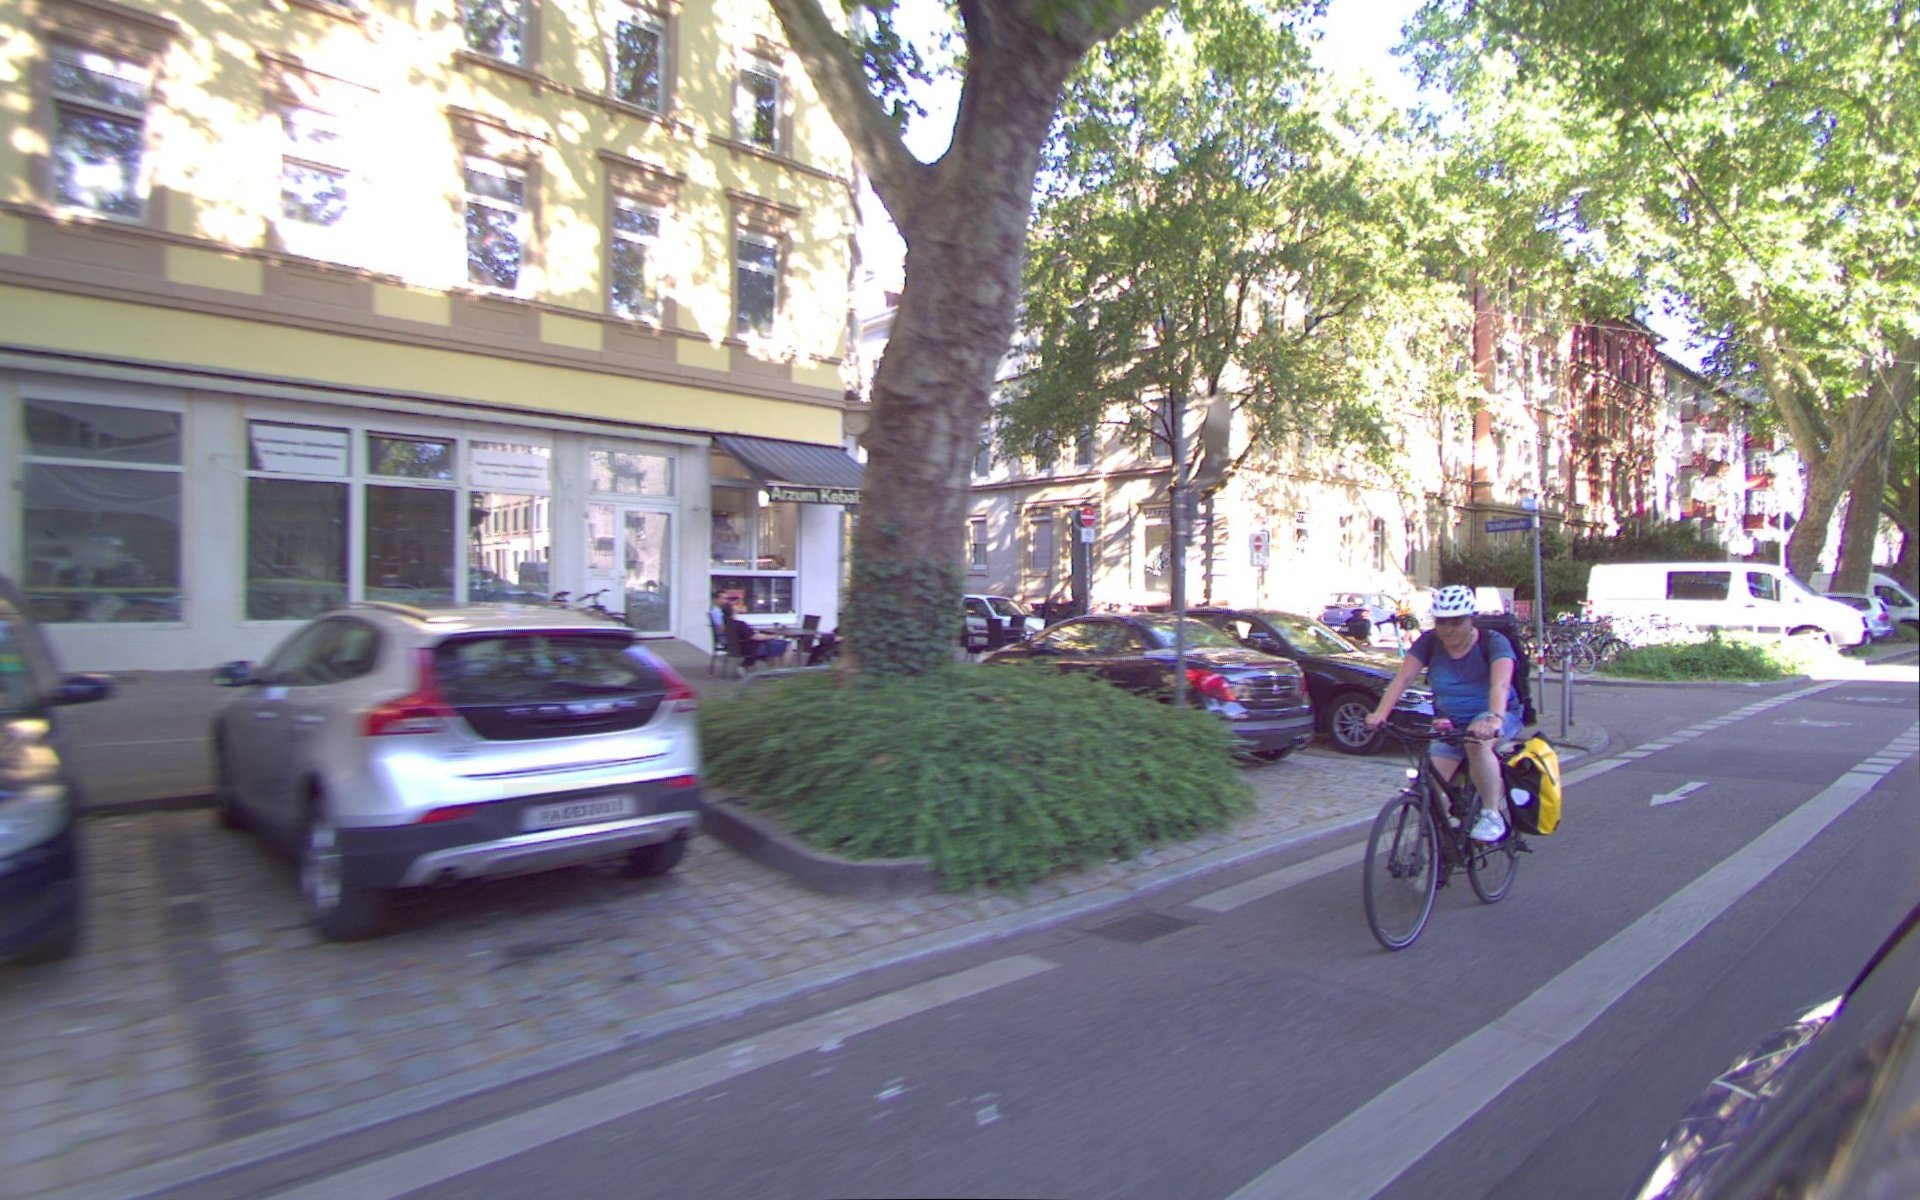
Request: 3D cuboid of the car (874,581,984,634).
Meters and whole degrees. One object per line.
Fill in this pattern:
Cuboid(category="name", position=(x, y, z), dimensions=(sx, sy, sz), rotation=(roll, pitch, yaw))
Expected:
Cuboid(category="car", position=(-1.118, 0.205, 34.894), dimensions=(1.819, 1.618, 3.999), rotation=(-3, 3, -36))

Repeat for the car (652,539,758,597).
Cuboid(category="car", position=(-8.173, -0.988, 32.210), dimensions=(1.624, 1.679, 4.140), rotation=(3, -1, -39))

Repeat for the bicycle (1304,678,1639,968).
Cuboid(category="bicycle", position=(2.689, 0.980, 5.137), dimensions=(2.467, 1.017, 0.596), rotation=(0, -2, -41))

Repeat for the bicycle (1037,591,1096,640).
Cuboid(category="bicycle", position=(3.199, 0.444, 30.159), dimensions=(1.974, 1.333, 0.522), rotation=(-3, 1, -42))

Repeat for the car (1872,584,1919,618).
Cuboid(category="car", position=(51.661, 0.055, 54.194), dimensions=(1.773, 1.767, 4.001), rotation=(0, 1, -40))

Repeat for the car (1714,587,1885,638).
Cuboid(category="car", position=(26.698, 0.349, 32.275), dimensions=(1.765, 1.497, 3.962), rotation=(0, 1, -41))

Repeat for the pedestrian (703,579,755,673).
Cuboid(category="pedestrian", position=(-3.378, 0.369, 14.832), dimensions=(0.673, 1.345, 0.487), rotation=(0, 0, -4))

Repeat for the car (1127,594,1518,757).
Cuboid(category="car", position=(4.007, 0.707, 11.888), dimensions=(1.795, 1.510, 4.113), rotation=(0, 1, -32))

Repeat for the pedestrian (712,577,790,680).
Cuboid(category="pedestrian", position=(-2.887, 0.389, 14.023), dimensions=(1.034, 1.392, 0.487), rotation=(0, 0, -10))

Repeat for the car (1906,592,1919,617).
Cuboid(category="car", position=(60.076, 0.344, 61.030), dimensions=(1.877, 1.500, 4.206), rotation=(0, 2, -39))

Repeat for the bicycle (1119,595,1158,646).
Cuboid(category="bicycle", position=(4.941, 0.540, 27.986), dimensions=(0.503, 1.271, 1.890), rotation=(0, 2, 28))

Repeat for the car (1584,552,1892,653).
Cuboid(category="car", position=(19.832, 0.013, 26.129), dimensions=(1.970, 2.311, 6.006), rotation=(1, 0, -39))

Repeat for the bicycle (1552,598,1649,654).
Cuboid(category="bicycle", position=(14.590, 0.572, 23.117), dimensions=(0.404, 1.193, 2.053), rotation=(-1, 1, -20))

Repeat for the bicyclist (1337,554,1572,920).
Cuboid(category="bicyclist", position=(2.400, 0.603, 4.908), dimensions=(0.919, 1.573, 0.615), rotation=(0, -4, -41))

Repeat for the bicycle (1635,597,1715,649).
Cuboid(category="bicycle", position=(17.577, 0.543, 24.930), dimensions=(0.405, 1.193, 2.050), rotation=(-1, 1, -4))

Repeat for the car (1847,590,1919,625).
Cuboid(category="car", position=(42.654, 0.353, 45.513), dimensions=(1.659, 1.498, 3.961), rotation=(0, 2, -41))

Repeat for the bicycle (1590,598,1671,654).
Cuboid(category="bicycle", position=(15.599, 0.577, 23.606), dimensions=(0.405, 1.193, 2.050), rotation=(-1, 1, -4))

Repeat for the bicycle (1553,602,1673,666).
Cuboid(category="bicycle", position=(13.128, 0.664, 20.415), dimensions=(0.405, 1.193, 2.050), rotation=(-1, 1, -32))

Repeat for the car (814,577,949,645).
Cuboid(category="car", position=(-2.130, 0.268, 26.698), dimensions=(1.662, 1.637, 3.683), rotation=(3, -1, -41))

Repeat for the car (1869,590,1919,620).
Cuboid(category="car", position=(49.805, 0.259, 52.612), dimensions=(1.632, 1.514, 3.614), rotation=(0, 1, -42))

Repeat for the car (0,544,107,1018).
Cuboid(category="car", position=(-5.103, 0.578, 4.678), dimensions=(1.653, 1.664, 4.034), rotation=(0, 2, -42))

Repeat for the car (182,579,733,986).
Cuboid(category="car", position=(-3.149, 0.664, 5.884), dimensions=(4.029, 1.498, 1.654), rotation=(2, 2, 45))

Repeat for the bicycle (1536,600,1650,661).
Cuboid(category="bicycle", position=(13.205, 0.614, 21.181), dimensions=(0.405, 1.193, 2.050), rotation=(-1, 1, -32))

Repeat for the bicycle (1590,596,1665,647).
Cuboid(category="bicycle", position=(16.523, 0.508, 25.109), dimensions=(0.405, 1.193, 2.050), rotation=(-1, 1, -4))

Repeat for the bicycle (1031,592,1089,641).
Cuboid(category="bicycle", position=(2.844, 0.447, 28.693), dimensions=(0.506, 1.301, 2.013), rotation=(0, 1, 44))

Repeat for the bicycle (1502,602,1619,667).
Cuboid(category="bicycle", position=(11.908, 0.656, 20.157), dimensions=(0.405, 1.193, 2.050), rotation=(-1, 1, -32))

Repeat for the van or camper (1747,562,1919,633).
Cuboid(category="van or camper", position=(33.585, -0.146, 38.041), dimensions=(2.071, 2.522, 6.043), rotation=(0, 1, -41))

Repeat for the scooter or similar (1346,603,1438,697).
Cuboid(category="scooter or similar", position=(6.239, 0.694, 14.676), dimensions=(0.334, 1.271, 1.313), rotation=(0, 1, -27))

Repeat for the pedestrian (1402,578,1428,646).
Cuboid(category="pedestrian", position=(11.421, 0.294, 25.428), dimensions=(0.587, 1.672, 0.703), rotation=(0, 1, 24))

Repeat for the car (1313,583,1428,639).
Cuboid(category="car", position=(11.604, 0.285, 28.538), dimensions=(3.512, 1.474, 1.733), rotation=(-1, 0, -44))

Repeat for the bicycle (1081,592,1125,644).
Cuboid(category="bicycle", position=(3.926, 0.475, 27.686), dimensions=(0.503, 1.301, 1.888), rotation=(0, 2, 30))

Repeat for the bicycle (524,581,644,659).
Cuboid(category="bicycle", position=(-5.944, 0.310, 16.050), dimensions=(1.715, 1.170, 0.471), rotation=(1, 2, -41))

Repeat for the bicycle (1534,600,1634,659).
Cuboid(category="bicycle", position=(13.629, 0.608, 22.166), dimensions=(0.404, 1.193, 2.053), rotation=(-1, 1, -20))

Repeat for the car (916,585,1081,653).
Cuboid(category="car", position=(0.826, 0.401, 23.321), dimensions=(1.663, 1.430, 3.679), rotation=(3, -1, -44))

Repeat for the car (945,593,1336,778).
Cuboid(category="car", position=(1.671, 0.705, 10.676), dimensions=(1.649, 1.510, 4.110), rotation=(0, 1, -35))

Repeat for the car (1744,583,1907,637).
Cuboid(category="car", position=(28.802, 0.277, 33.766), dimensions=(1.766, 1.676, 3.959), rotation=(-1, 2, -43))
